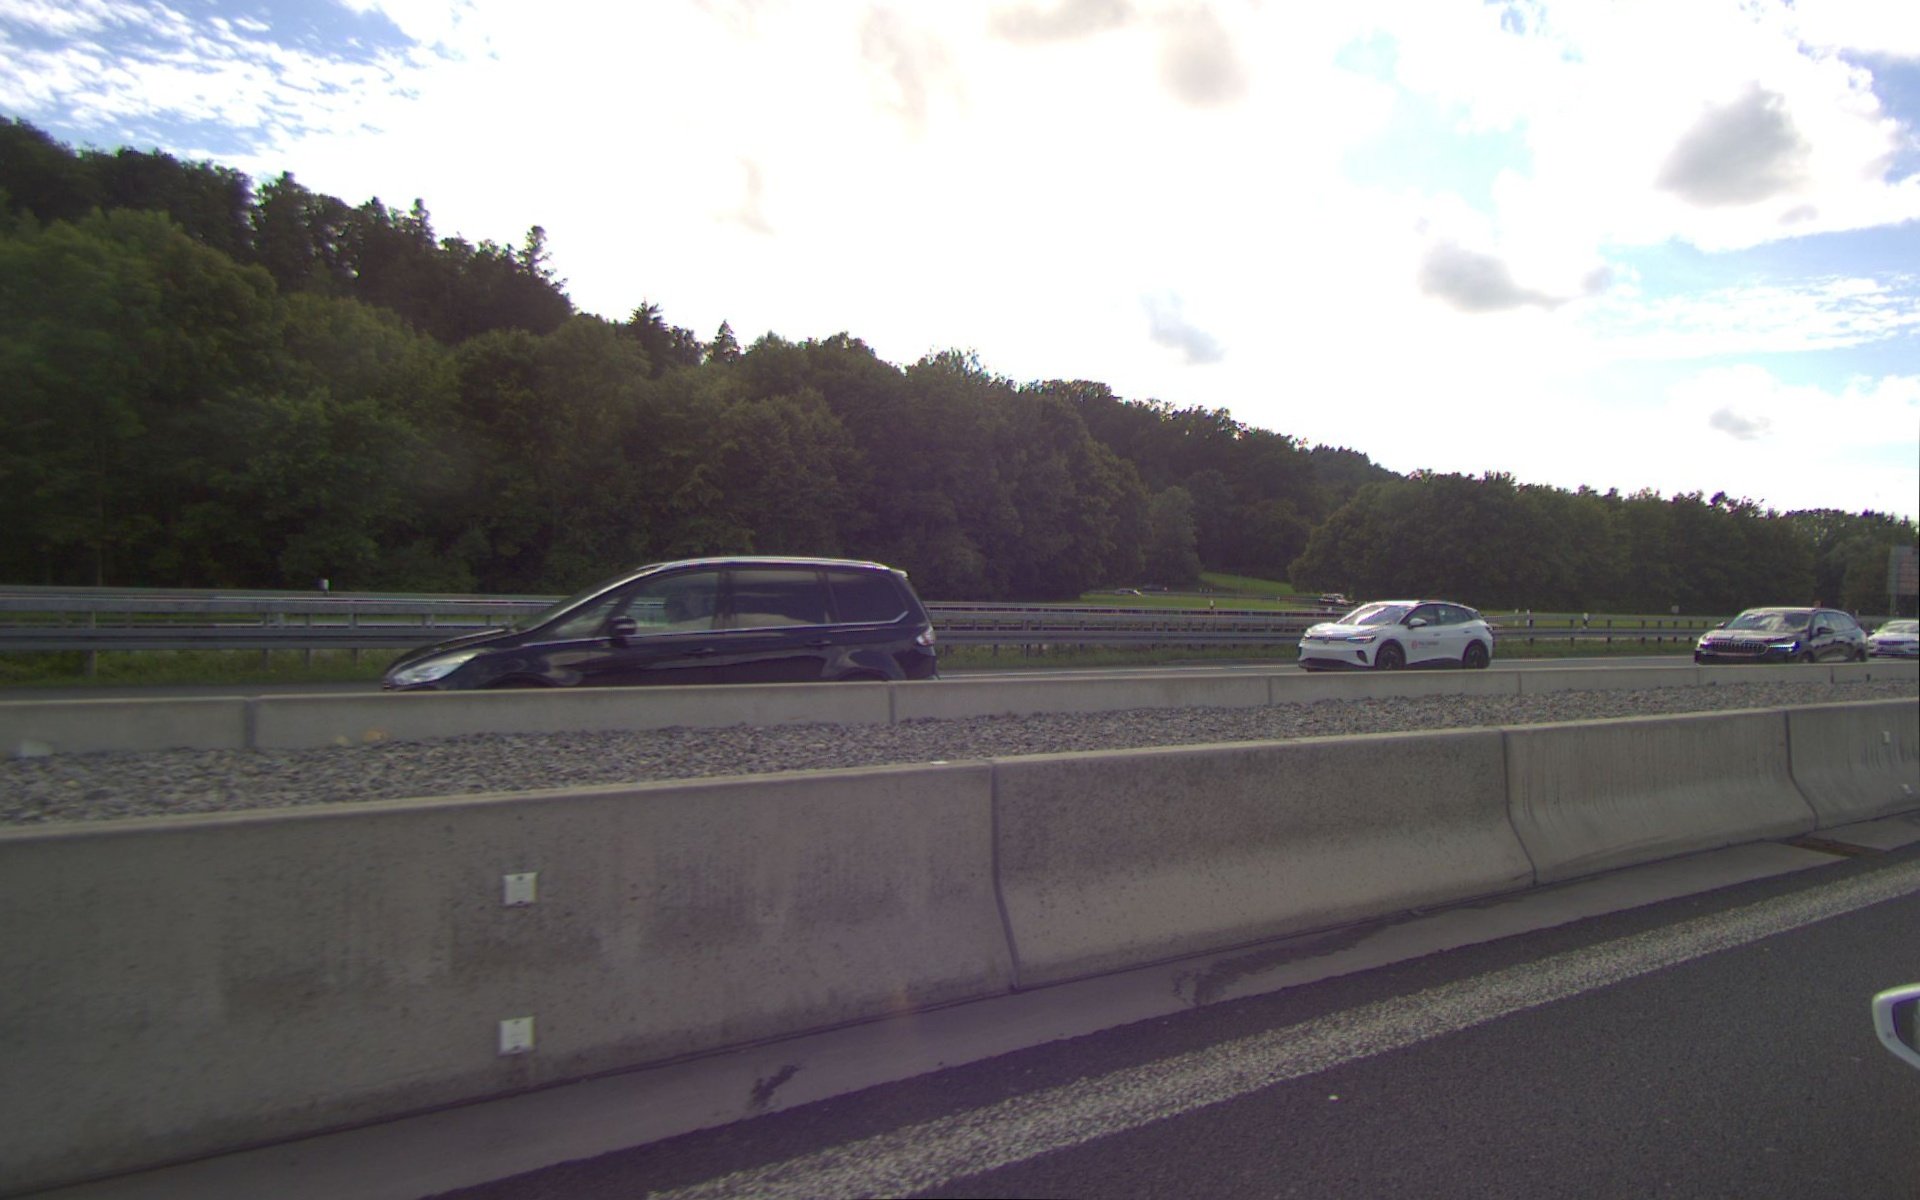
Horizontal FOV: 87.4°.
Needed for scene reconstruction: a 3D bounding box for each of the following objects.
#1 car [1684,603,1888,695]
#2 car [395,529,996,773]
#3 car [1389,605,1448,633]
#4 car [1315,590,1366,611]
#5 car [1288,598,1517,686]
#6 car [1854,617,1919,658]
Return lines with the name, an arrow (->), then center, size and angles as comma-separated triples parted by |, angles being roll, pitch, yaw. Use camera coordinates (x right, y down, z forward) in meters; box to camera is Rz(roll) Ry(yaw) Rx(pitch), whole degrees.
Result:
car -> 18.135, 1.022, 21.992 | 4.895, 1.808, 1.877 | 1, 0, -30
car -> -2.265, 0.399, 9.109 | 4.905, 1.726, 1.878 | 1, 0, -29
car -> 24.855, 1.008, 54.363 | 1.761, 1.450, 4.603 | 2, 1, 40
car -> 34.957, 0.033, 92.438 | 2.356, 1.795, 5.239 | 1, 1, -4
car -> 9.221, 0.830, 20.805 | 4.910, 1.631, 1.876 | 1, 0, -32
car -> 37.156, 1.454, 39.364 | 4.524, 1.449, 1.877 | 1, 0, -30
